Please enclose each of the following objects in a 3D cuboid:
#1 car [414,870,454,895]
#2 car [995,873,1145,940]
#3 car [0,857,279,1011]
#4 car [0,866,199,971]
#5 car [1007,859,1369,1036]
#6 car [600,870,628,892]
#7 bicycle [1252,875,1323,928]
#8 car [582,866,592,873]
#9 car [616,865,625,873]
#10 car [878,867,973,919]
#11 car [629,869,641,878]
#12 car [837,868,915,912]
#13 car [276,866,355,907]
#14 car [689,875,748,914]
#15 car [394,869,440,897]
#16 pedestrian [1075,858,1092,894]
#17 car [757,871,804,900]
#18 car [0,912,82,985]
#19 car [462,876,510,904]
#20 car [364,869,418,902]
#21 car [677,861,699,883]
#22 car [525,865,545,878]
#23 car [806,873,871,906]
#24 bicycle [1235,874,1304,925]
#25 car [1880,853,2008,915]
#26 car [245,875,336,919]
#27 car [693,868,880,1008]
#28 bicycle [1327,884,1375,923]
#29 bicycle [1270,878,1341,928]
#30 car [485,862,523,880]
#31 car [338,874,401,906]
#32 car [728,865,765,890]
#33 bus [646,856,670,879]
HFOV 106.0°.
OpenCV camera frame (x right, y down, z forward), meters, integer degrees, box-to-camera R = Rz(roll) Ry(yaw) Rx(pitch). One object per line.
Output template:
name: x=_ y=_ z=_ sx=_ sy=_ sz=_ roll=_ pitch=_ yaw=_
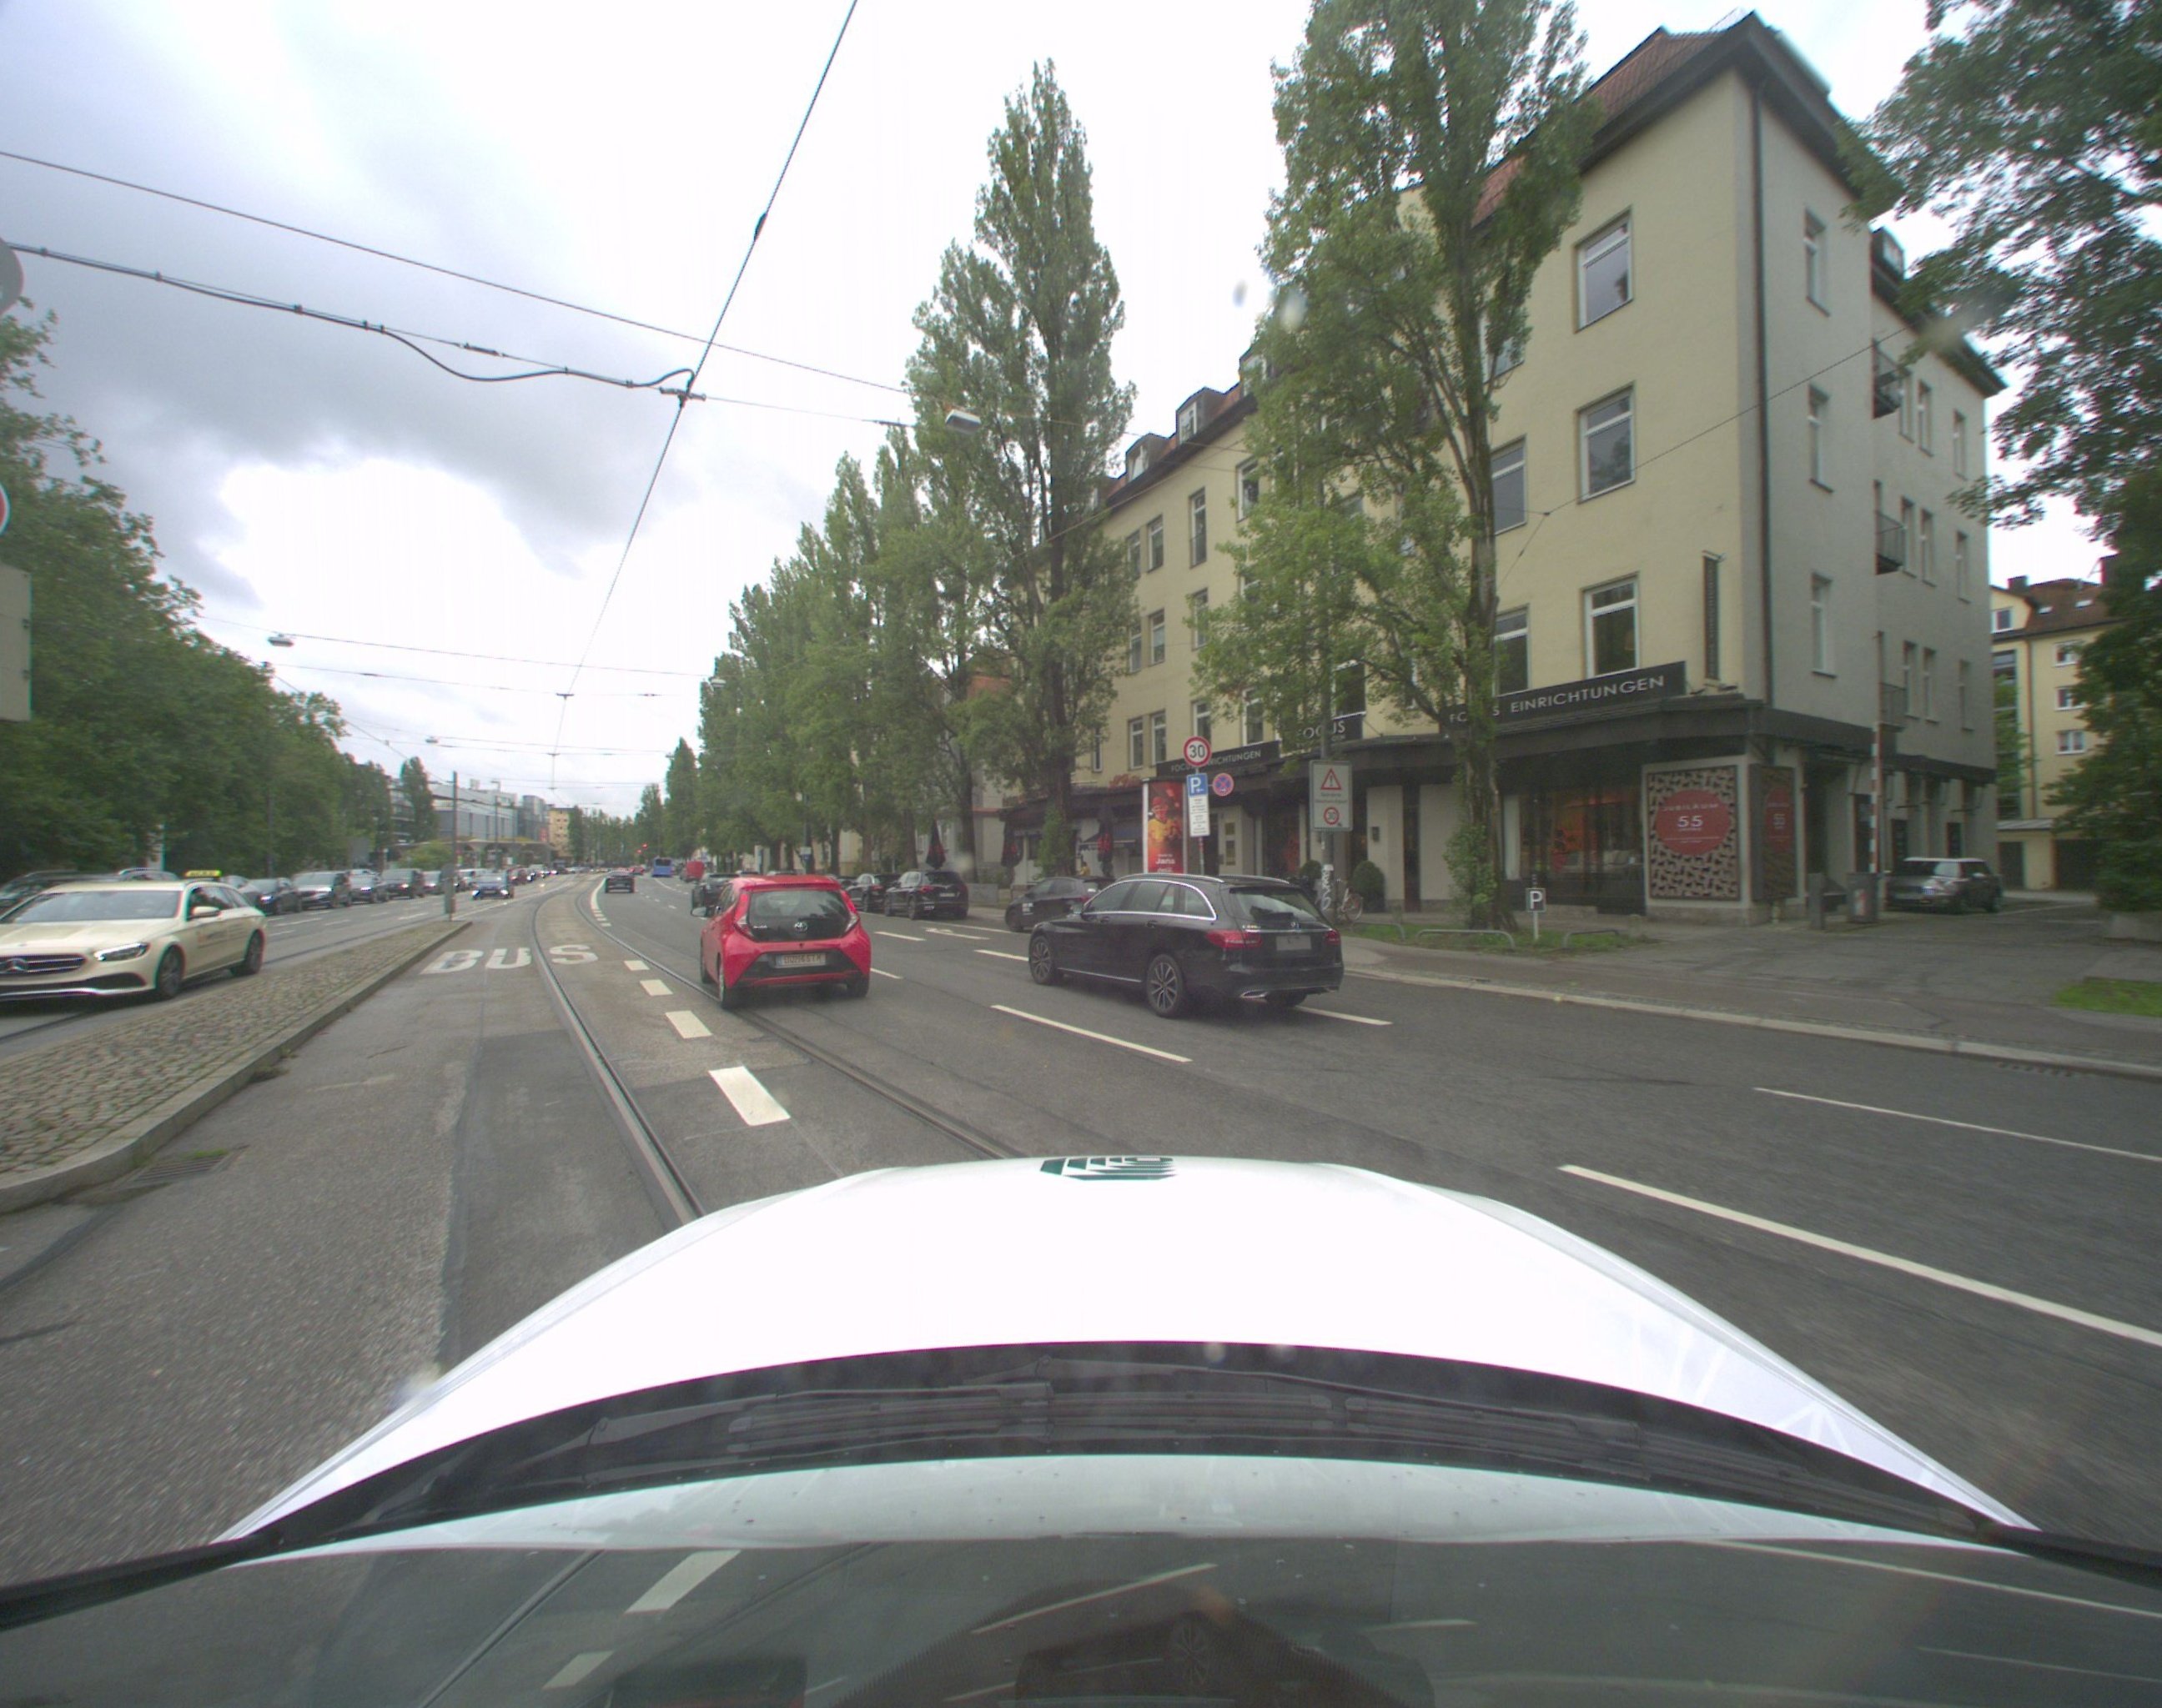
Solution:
car: x=-50.408 y=2.213 z=63.508 sx=1.811 sy=1.788 sz=4.474 roll=-2 pitch=0 yaw=-30
car: x=-0.382 y=1.201 z=20.133 sx=1.813 sy=1.466 sz=3.957 roll=1 pitch=-1 yaw=-35
car: x=-12.666 y=0.903 z=10.833 sx=1.834 sy=1.638 sz=4.841 roll=0 pitch=-1 yaw=-32
car: x=-18.775 y=1.093 z=15.179 sx=1.834 sy=1.683 sz=4.843 roll=0 pitch=-1 yaw=-31
car: x=0.938 y=0.849 z=9.773 sx=1.875 sy=1.549 sz=4.659 roll=-1 pitch=0 yaw=-30
car: x=-34.219 y=1.937 z=59.627 sx=1.747 sy=1.549 sz=4.531 roll=0 pitch=-1 yaw=-31
bicycle: x=4.963 y=1.105 z=19.510 sx=1.897 sy=1.185 sz=0.491 roll=0 pitch=-1 yaw=-35
car: x=-105.001 y=3.247 z=173.189 sx=1.792 sy=1.486 sz=3.961 roll=0 pitch=-1 yaw=-30
car: x=-113.086 y=3.661 z=199.947 sx=1.814 sy=1.596 sz=3.964 roll=1 pitch=-4 yaw=-27
car: x=-5.401 y=1.273 z=27.795 sx=1.733 sy=1.612 sz=4.425 roll=0 pitch=-1 yaw=-32
car: x=-80.115 y=3.452 z=146.222 sx=1.792 sy=1.486 sz=3.961 roll=0 pitch=-1 yaw=-30
car: x=-8.211 y=1.387 z=32.428 sx=1.811 sy=1.612 sz=4.261 roll=0 pitch=-1 yaw=-32
car: x=-36.739 y=1.519 z=39.184 sx=1.811 sy=1.779 sz=4.429 roll=-1 pitch=-1 yaw=-30
car: x=-15.137 y=1.622 z=33.911 sx=1.792 sy=1.486 sz=3.961 roll=0 pitch=-1 yaw=-30
car: x=-47.472 y=2.052 z=58.280 sx=1.811 sy=1.788 sz=4.474 roll=-2 pitch=0 yaw=-30
pedestrian: x=0.115 y=0.970 z=36.076 sx=0.576 sy=1.562 sz=0.491 roll=1 pitch=0 yaw=-31
car: x=-17.969 y=1.825 z=48.583 sx=1.811 sy=1.612 sz=4.501 roll=0 pitch=-1 yaw=-32
car: x=-24.232 y=2.132 z=17.758 sx=1.742 sy=1.411 sz=4.062 roll=-4 pitch=1 yaw=-31
car: x=-34.987 y=2.098 z=47.962 sx=1.811 sy=1.523 sz=4.312 roll=-1 pitch=-1 yaw=-30
car: x=-44.166 y=1.980 z=52.235 sx=1.811 sy=1.991 sz=4.990 roll=-1 pitch=-1 yaw=-30
car: x=-47.464 y=2.161 z=98.351 sx=2.006 sy=2.574 sz=4.634 roll=1 pitch=0 yaw=-30
car: x=-74.493 y=2.417 z=111.139 sx=1.811 sy=1.665 sz=4.475 roll=-2 pitch=0 yaw=-30
car: x=-11.273 y=1.585 z=37.649 sx=1.811 sy=1.398 sz=4.337 roll=0 pitch=-1 yaw=-32
bicycle: x=4.670 y=1.096 z=20.148 sx=1.897 sy=1.185 sz=0.491 roll=0 pitch=-1 yaw=-35
car: x=22.561 y=0.731 z=21.263 sx=4.017 sy=1.442 sz=1.712 roll=0 pitch=-1 yaw=-35
car: x=-33.729 y=1.780 z=34.869 sx=1.811 sy=1.667 sz=4.312 roll=-1 pitch=-1 yaw=-30
car: x=-3.843 y=0.912 z=10.307 sx=1.639 sy=1.440 sz=3.343 roll=1 pitch=-2 yaw=-30
bicycle: x=6.679 y=1.213 z=20.126 sx=1.377 sy=0.884 sz=0.385 roll=0 pitch=-1 yaw=-35
bicycle: x=5.276 y=1.119 z=19.090 sx=1.897 sy=1.082 sz=0.491 roll=0 pitch=-1 yaw=-35
car: x=-59.634 y=1.740 z=84.197 sx=1.804 sy=1.788 sz=4.492 roll=-2 pitch=0 yaw=-17
car: x=-39.608 y=1.964 z=45.423 sx=1.811 sy=1.635 sz=4.543 roll=-1 pitch=-1 yaw=-30
car: x=-24.677 y=1.711 z=59.962 sx=1.811 sy=1.743 sz=4.653 roll=0 pitch=-1 yaw=-32
bus: x=-67.330 y=2.042 z=129.548 sx=2.924 sy=3.396 sz=10.701 roll=1 pitch=0 yaw=-30
